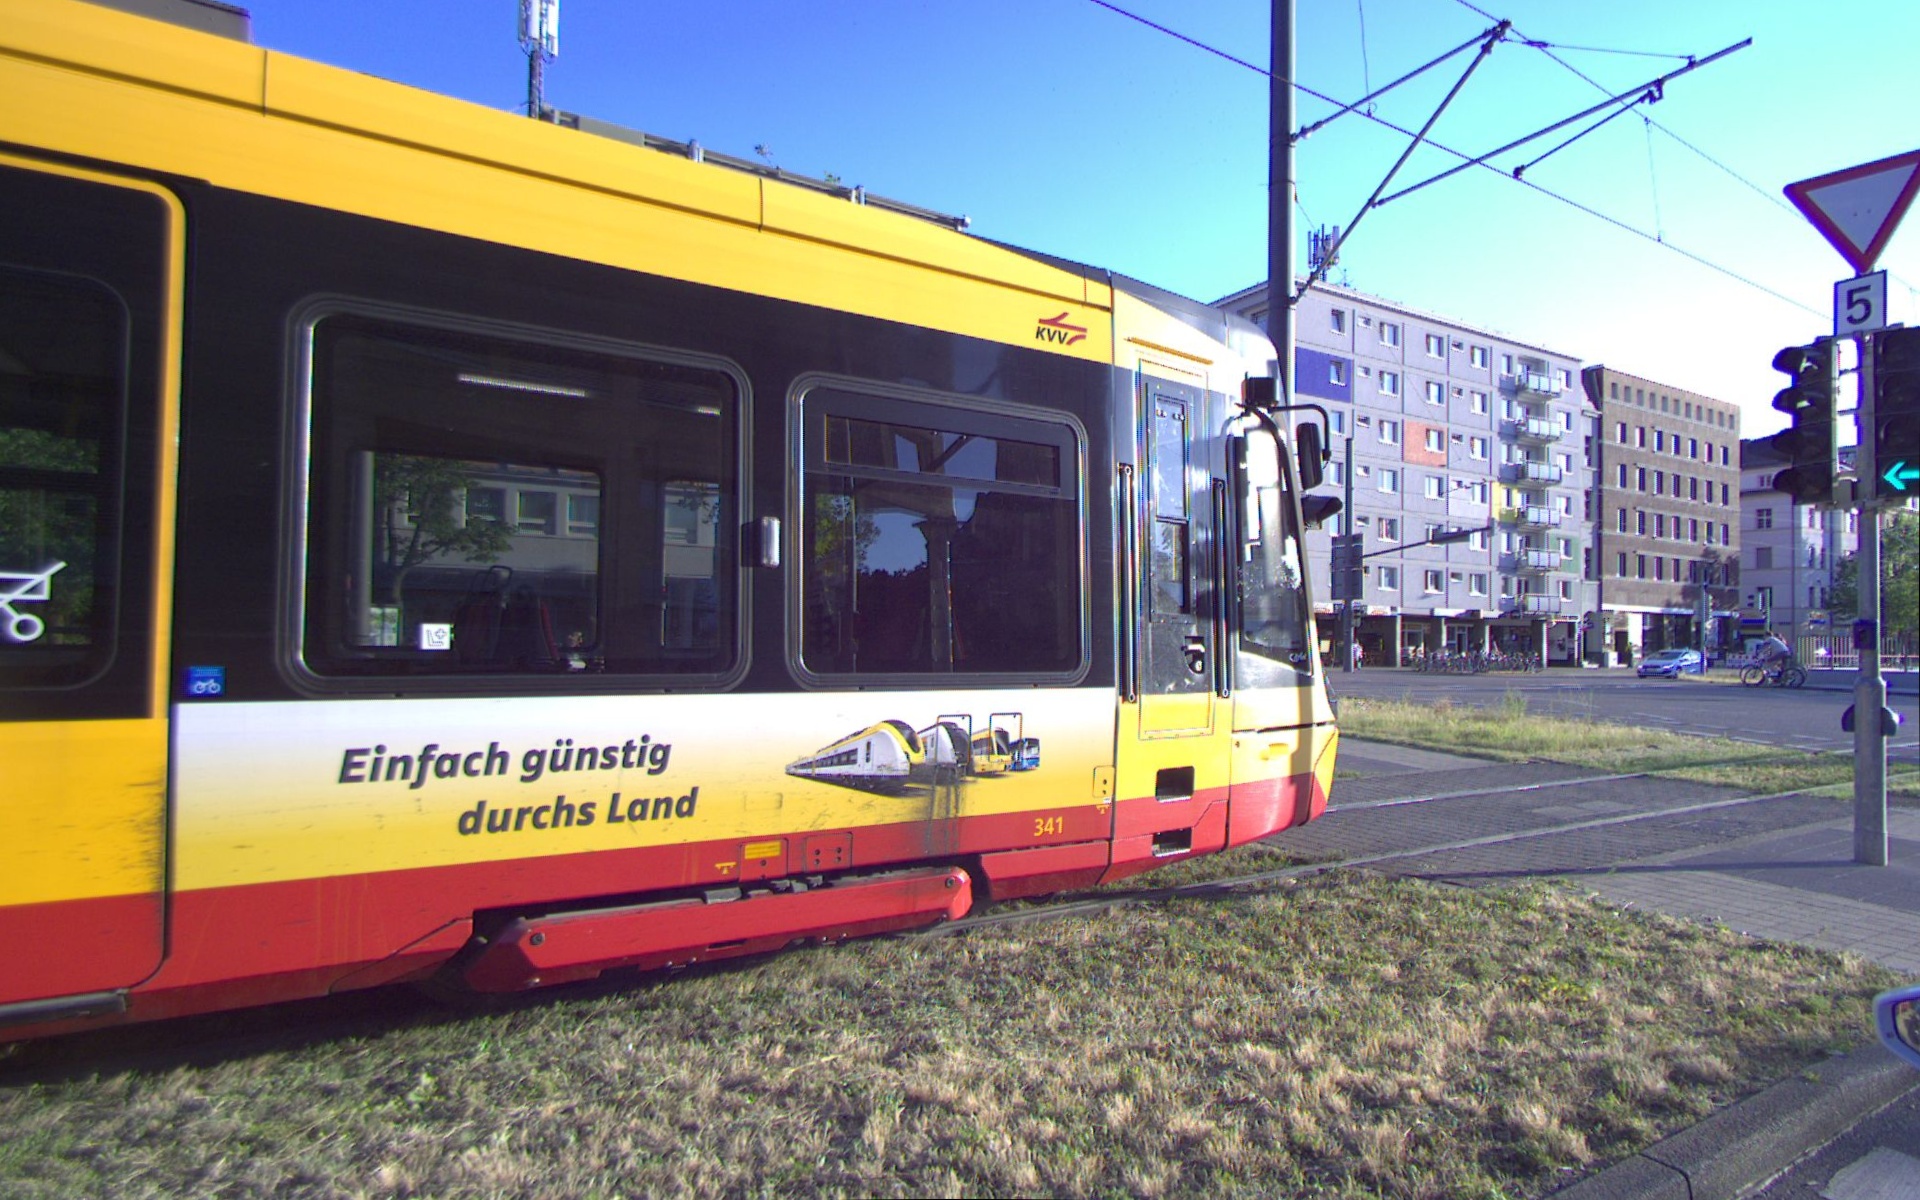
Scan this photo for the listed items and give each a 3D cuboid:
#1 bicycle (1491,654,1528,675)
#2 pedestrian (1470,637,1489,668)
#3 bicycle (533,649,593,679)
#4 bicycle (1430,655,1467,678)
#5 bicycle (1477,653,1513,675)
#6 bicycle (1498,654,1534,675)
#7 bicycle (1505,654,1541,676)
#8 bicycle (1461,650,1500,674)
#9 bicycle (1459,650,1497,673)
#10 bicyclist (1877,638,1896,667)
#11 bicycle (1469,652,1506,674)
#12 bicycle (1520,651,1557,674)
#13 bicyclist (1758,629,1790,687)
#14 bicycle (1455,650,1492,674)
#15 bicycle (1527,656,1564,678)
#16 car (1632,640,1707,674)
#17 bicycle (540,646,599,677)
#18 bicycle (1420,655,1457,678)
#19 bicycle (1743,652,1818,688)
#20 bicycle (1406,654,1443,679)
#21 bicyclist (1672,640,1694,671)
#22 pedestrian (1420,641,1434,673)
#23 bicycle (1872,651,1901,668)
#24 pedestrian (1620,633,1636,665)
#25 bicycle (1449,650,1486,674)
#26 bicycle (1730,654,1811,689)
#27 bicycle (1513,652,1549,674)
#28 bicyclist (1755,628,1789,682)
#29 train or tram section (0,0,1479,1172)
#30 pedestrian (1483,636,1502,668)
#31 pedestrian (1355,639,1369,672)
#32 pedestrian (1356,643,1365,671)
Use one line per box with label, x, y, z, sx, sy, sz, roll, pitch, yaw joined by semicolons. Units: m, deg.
bicycle;30.383;3.552;55.555;0.545;1.132;1.747;2;-2;-29
pedestrian;31.822;3.198;61.550;0.715;1.836;0.820;2;-1;-40
bicycle;-14.544;2.334;36.844;1.972;1.089;0.465;2;-2;-31
bicycle;26.219;3.542;53.912;0.592;1.154;1.749;2;-2;-29
bicycle;29.665;3.525;55.720;0.598;1.151;1.763;2;-2;-29
bicycle;30.892;3.577;55.831;0.561;1.134;1.753;2;-2;-29
bicycle;31.456;3.611;56.123;0.626;1.139;1.720;3;-2;-28
bicycle;28.097;3.330;54.242;0.644;1.206;1.780;2;-2;-30
bicycle;28.486;3.388;55.233;0.632;1.176;1.823;2;-2;-29
bicyclist;68.120;3.855;73.851;0.912;2.040;0.794;2;-2;-28
bicycle;29.071;3.460;55.402;0.598;1.174;1.768;2;-2;-29
bicycle;32.713;3.527;56.791;0.739;1.194;1.684;2;-2;-28
bicyclist;26.612;1.880;32.831;0.783;1.842;0.643;0;-2;40
bicycle;27.559;3.332;53.888;0.561;1.197;1.761;2;-2;-29
bicycle;33.336;3.831;57.237;0.739;1.185;1.684;2;-2;-28
car;35.765;2.869;50.609;3.956;1.639;1.680;2;-3;-32
bicycle;-13.738;2.163;35.379;1.885;1.089;0.465;2;-2;-31
bicycle;25.574;3.571;53.714;0.601;1.157;1.768;2;-2;-29
bicycle;26.713;2.255;32.728;1.880;1.089;0.629;-1;-2;43
bicycle;24.597;3.521;53.218;0.631;1.224;1.786;2;-2;-30
bicyclist;42.410;3.245;58.911;0.779;1.765;0.701;2;-2;-19
pedestrian;25.519;3.116;54.880;0.572;1.706;0.544;-1;-2;39
bicycle;68.048;4.395;73.769;2.382;1.217;0.809;2;-2;-28
pedestrian;45.798;3.375;68.882;0.783;2.206;0.599;2;-2;-30
bicycle;27.048;3.299;53.590;0.534;1.183;1.758;2;-2;-29
bicycle;27.785;2.425;34.464;2.141;1.098;0.536;0;-2;44
bicycle;32.067;3.533;56.420;0.697;1.168;1.684;2;-2;-28
bicyclist;27.831;1.873;34.447;0.867;1.842;0.535;-1;-2;44
train or tram section;-3.138;-0.358;3.998;13.068;3.788;2.894;2;-2;-31
pedestrian;32.225;3.135;60.748;0.728;1.865;0.780;2;-2;-38
pedestrian;20.300;2.799;50.716;0.563;1.641;0.603;0;-2;29
pedestrian;20.486;2.917;51.403;0.376;1.401;0.394;0;-2;32
